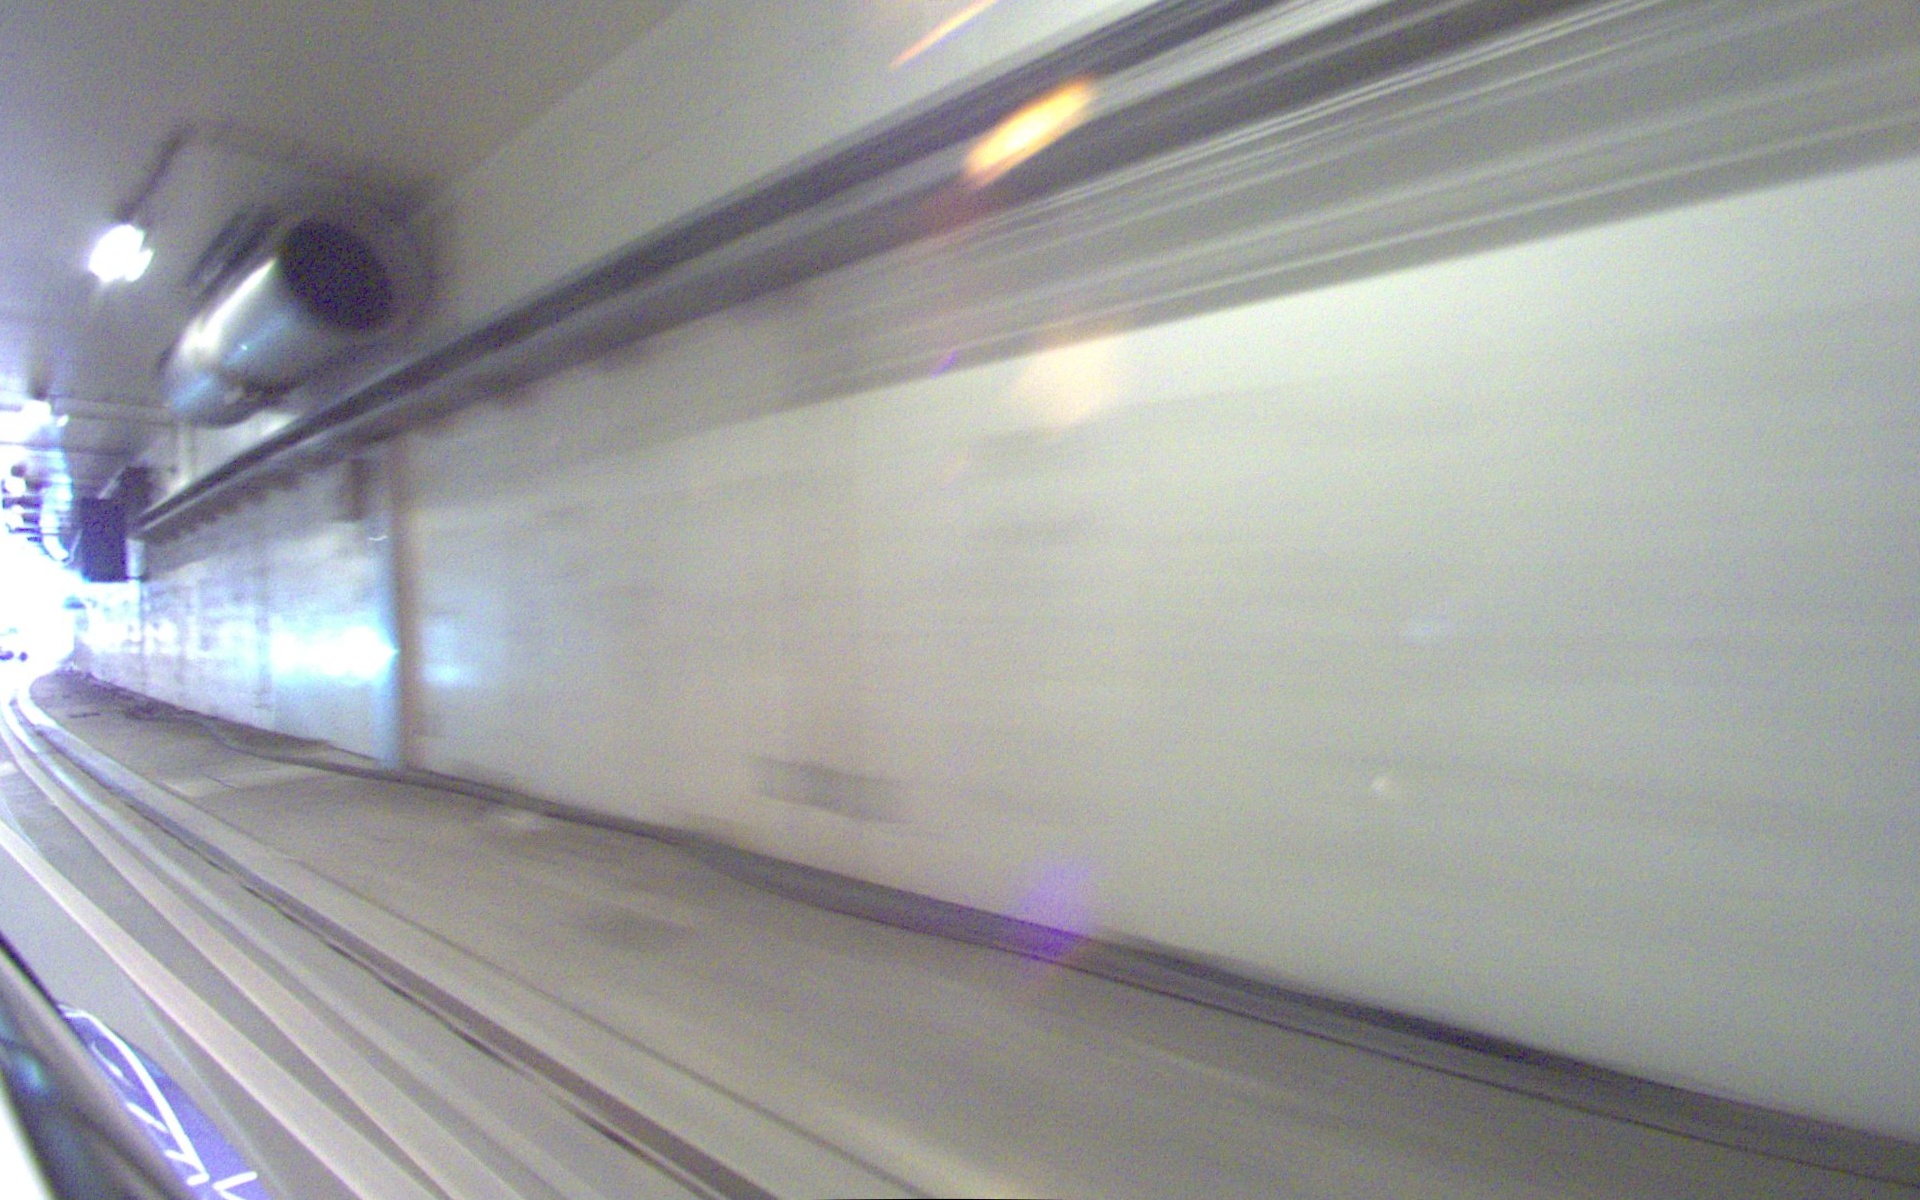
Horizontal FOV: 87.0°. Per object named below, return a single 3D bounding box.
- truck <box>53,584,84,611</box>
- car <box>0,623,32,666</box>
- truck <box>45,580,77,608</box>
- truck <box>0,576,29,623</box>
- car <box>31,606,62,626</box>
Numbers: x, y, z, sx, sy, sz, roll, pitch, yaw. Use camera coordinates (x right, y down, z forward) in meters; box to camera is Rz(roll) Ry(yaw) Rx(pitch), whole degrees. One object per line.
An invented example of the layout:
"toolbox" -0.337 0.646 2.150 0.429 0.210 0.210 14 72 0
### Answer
"truck" -104.751 -0.326 118.956 2.106 2.748 5.685 -4 5 -37
"car" -47.691 2.235 50.213 1.906 1.943 4.206 -4 2 -37
"truck" -117.859 -0.843 132.745 2.456 3.413 6.391 -4 5 -37
"truck" -101.338 -0.069 107.171 2.843 4.504 10.478 -4 5 -37
"car" -90.974 1.577 100.827 1.921 1.544 4.009 -4 6 -38
